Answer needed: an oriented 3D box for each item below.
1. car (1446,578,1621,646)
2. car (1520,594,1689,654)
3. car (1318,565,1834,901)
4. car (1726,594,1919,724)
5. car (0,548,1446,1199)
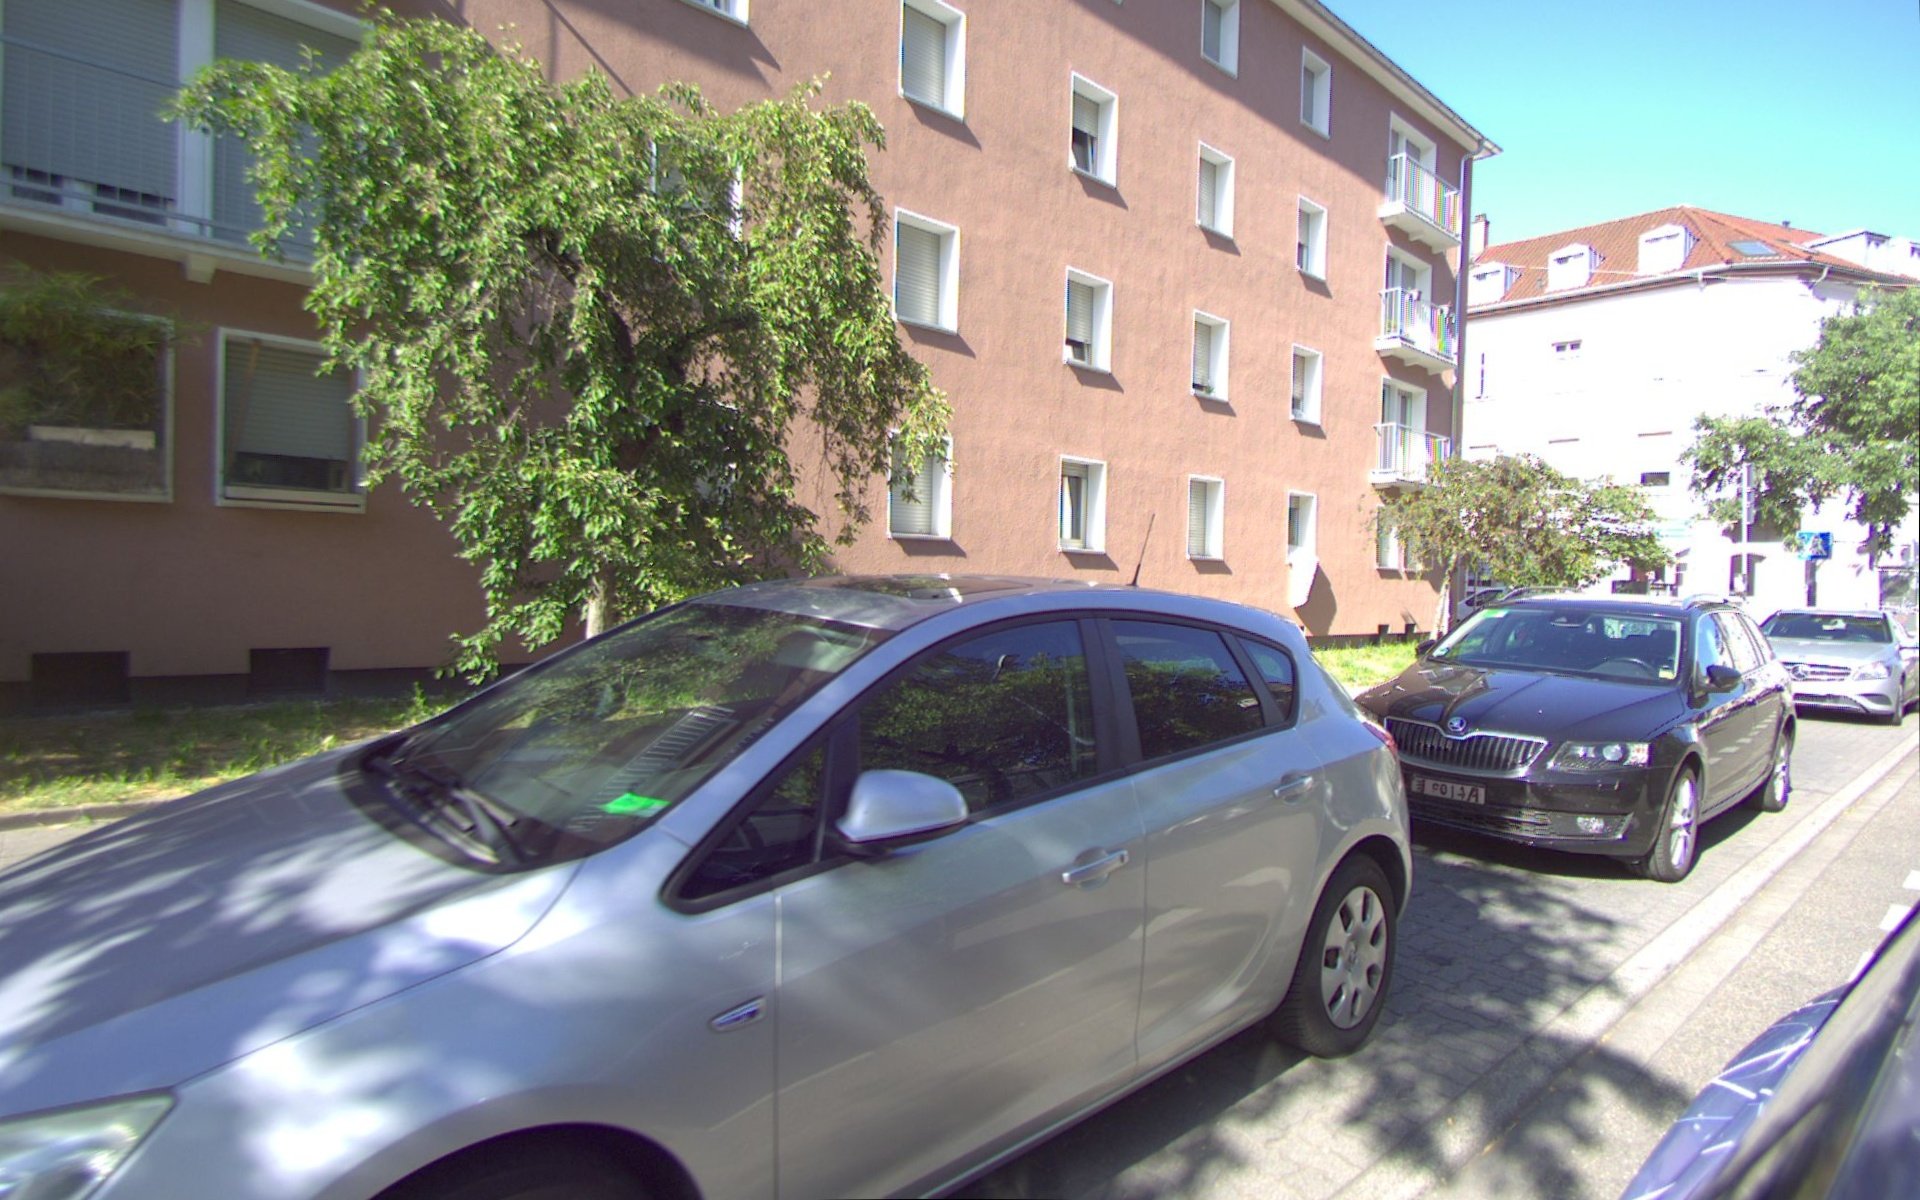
[{"bbox_3d":[19.213,0.341,34.033,4.745,2.038,1.968,3,2,45],"label":"car"},{"bbox_3d":[17.728,0.616,27.950,1.541,1.419,3.646,1,2,-41],"label":"car"},{"bbox_3d":[4.209,0.590,6.597,4.236,1.500,1.661,0,2,-41],"label":"car"},{"bbox_3d":[11.918,0.686,13.642,3.930,1.446,1.735,0,2,-41],"label":"car"},{"bbox_3d":[-0.434,0.647,2.741,3.930,1.471,1.719,0,3,-41],"label":"car"}]
